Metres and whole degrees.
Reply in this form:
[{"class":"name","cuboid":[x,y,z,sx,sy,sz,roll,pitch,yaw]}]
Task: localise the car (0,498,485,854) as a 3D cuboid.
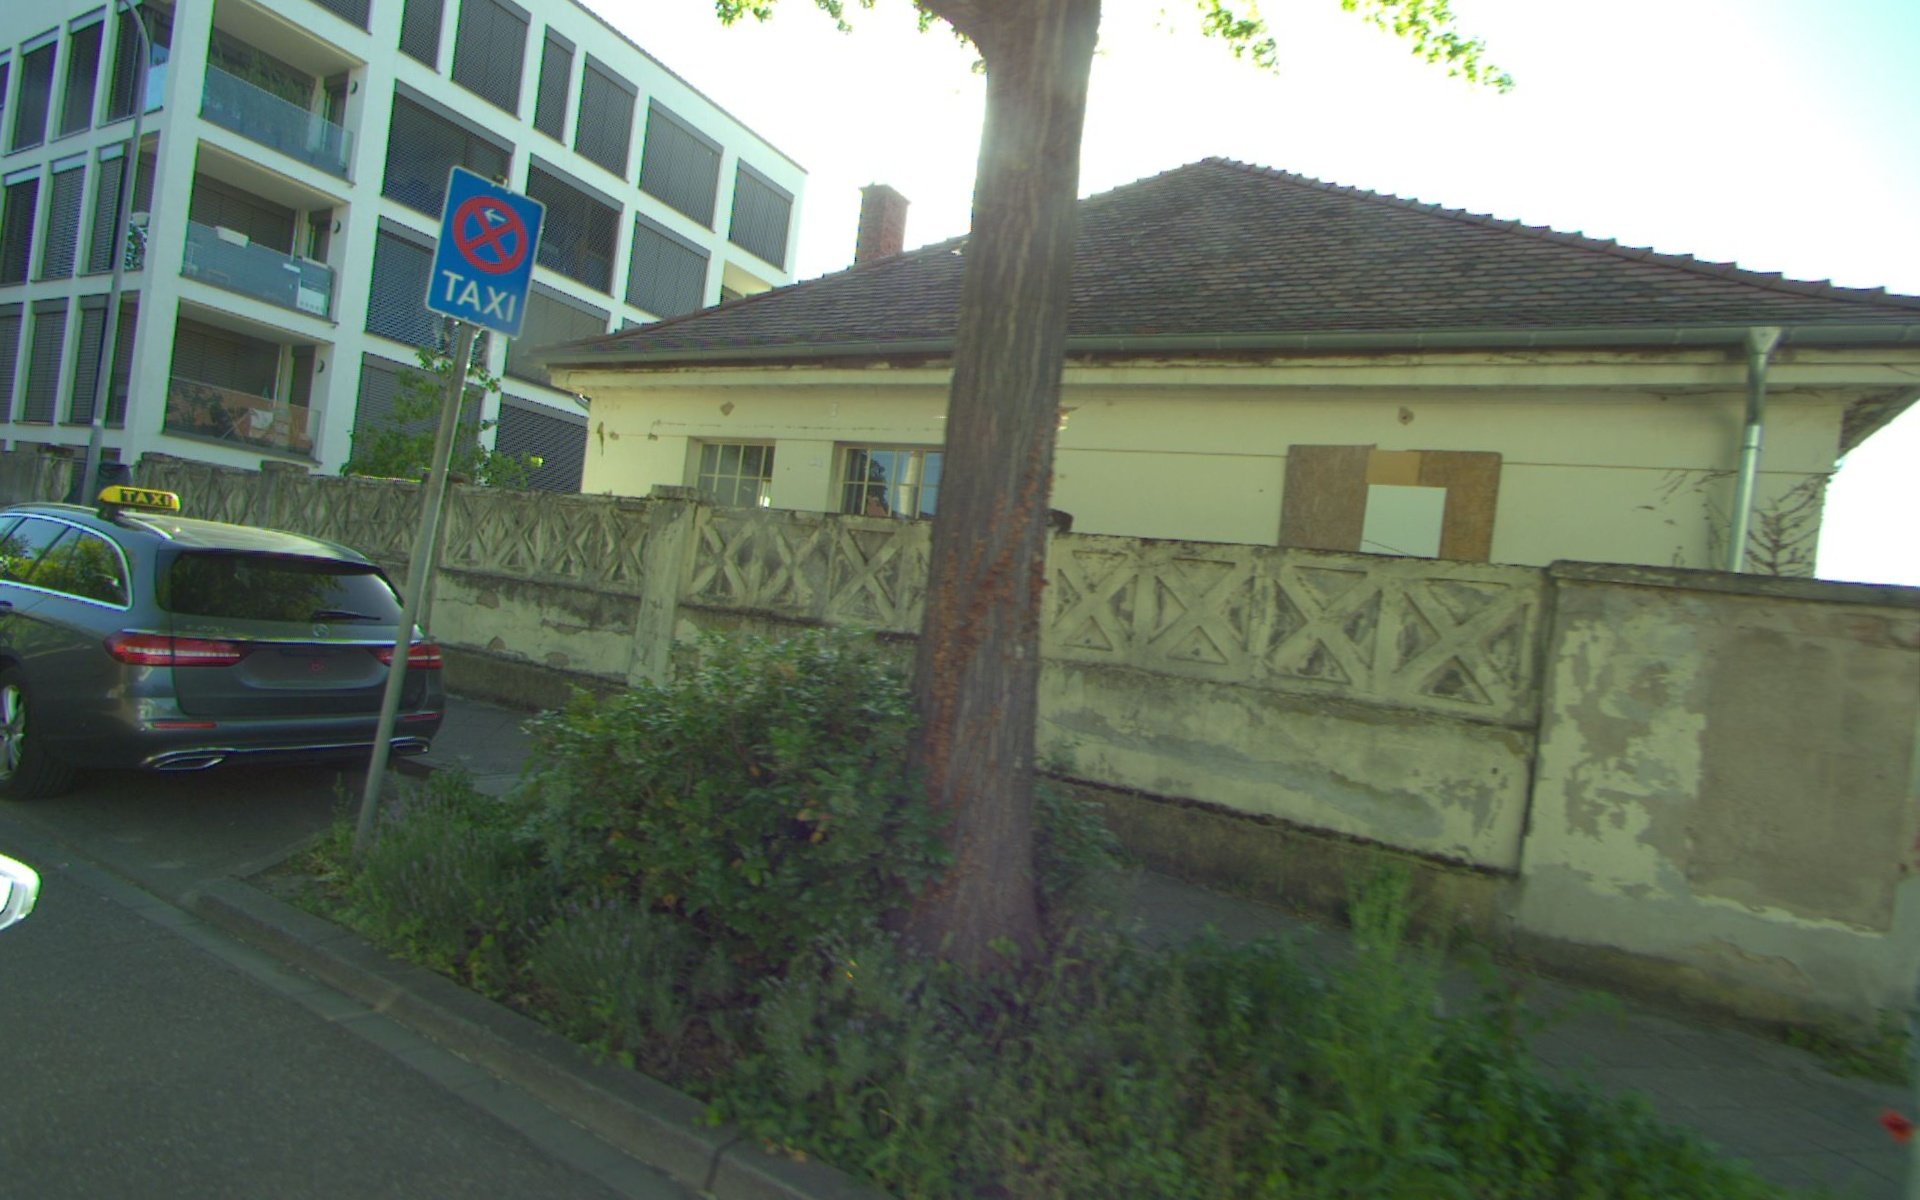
[{"class":"car","cuboid":[-5.306,0.208,6.306,4.707,1.485,1.707,7,-1,30]}]
